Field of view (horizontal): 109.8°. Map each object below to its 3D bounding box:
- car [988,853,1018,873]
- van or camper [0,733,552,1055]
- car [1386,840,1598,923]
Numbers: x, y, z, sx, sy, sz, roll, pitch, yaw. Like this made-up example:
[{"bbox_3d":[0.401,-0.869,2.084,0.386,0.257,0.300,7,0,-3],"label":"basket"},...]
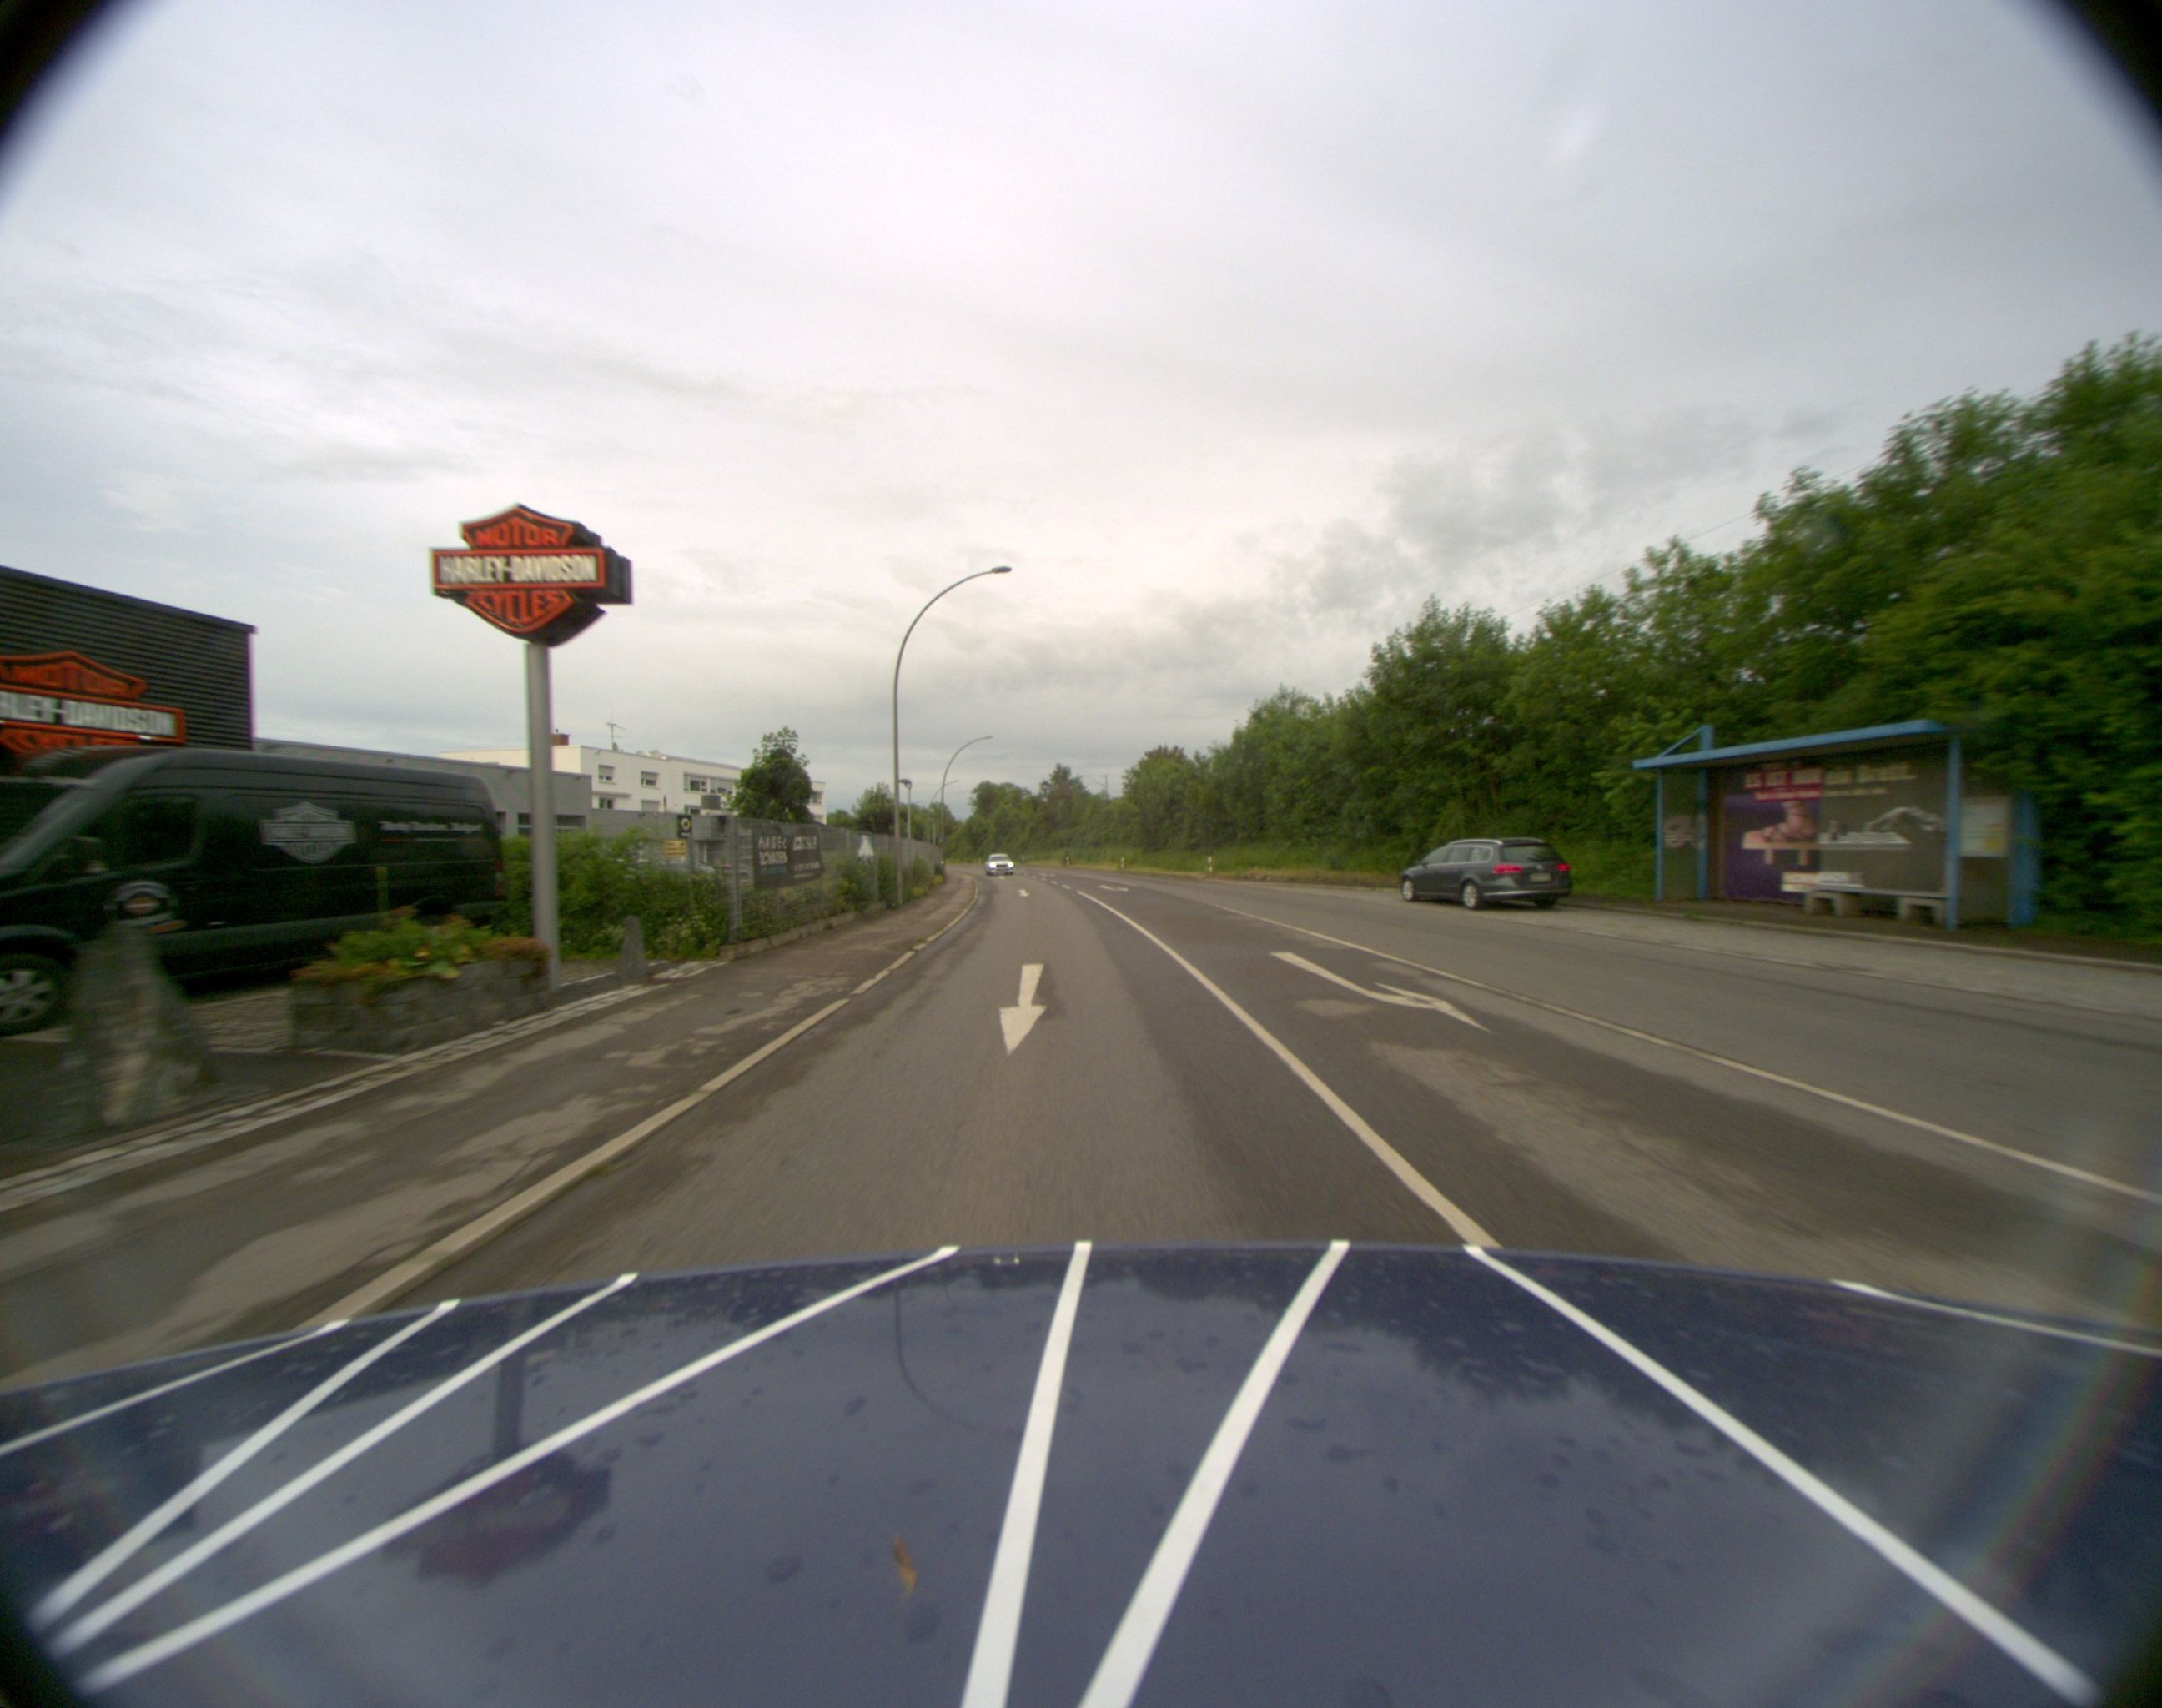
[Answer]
[{"bbox_3d":[-6.361,0.701,61.440,1.850,1.565,3.821,-1,0,-15],"label":"car"},{"bbox_3d":[-9.458,0.315,8.454,2.045,2.578,6.591,-1,0,5],"label":"van or camper"},{"bbox_3d":[8.956,0.500,17.147,1.999,1.465,4.698,-4,2,-3],"label":"car"}]
